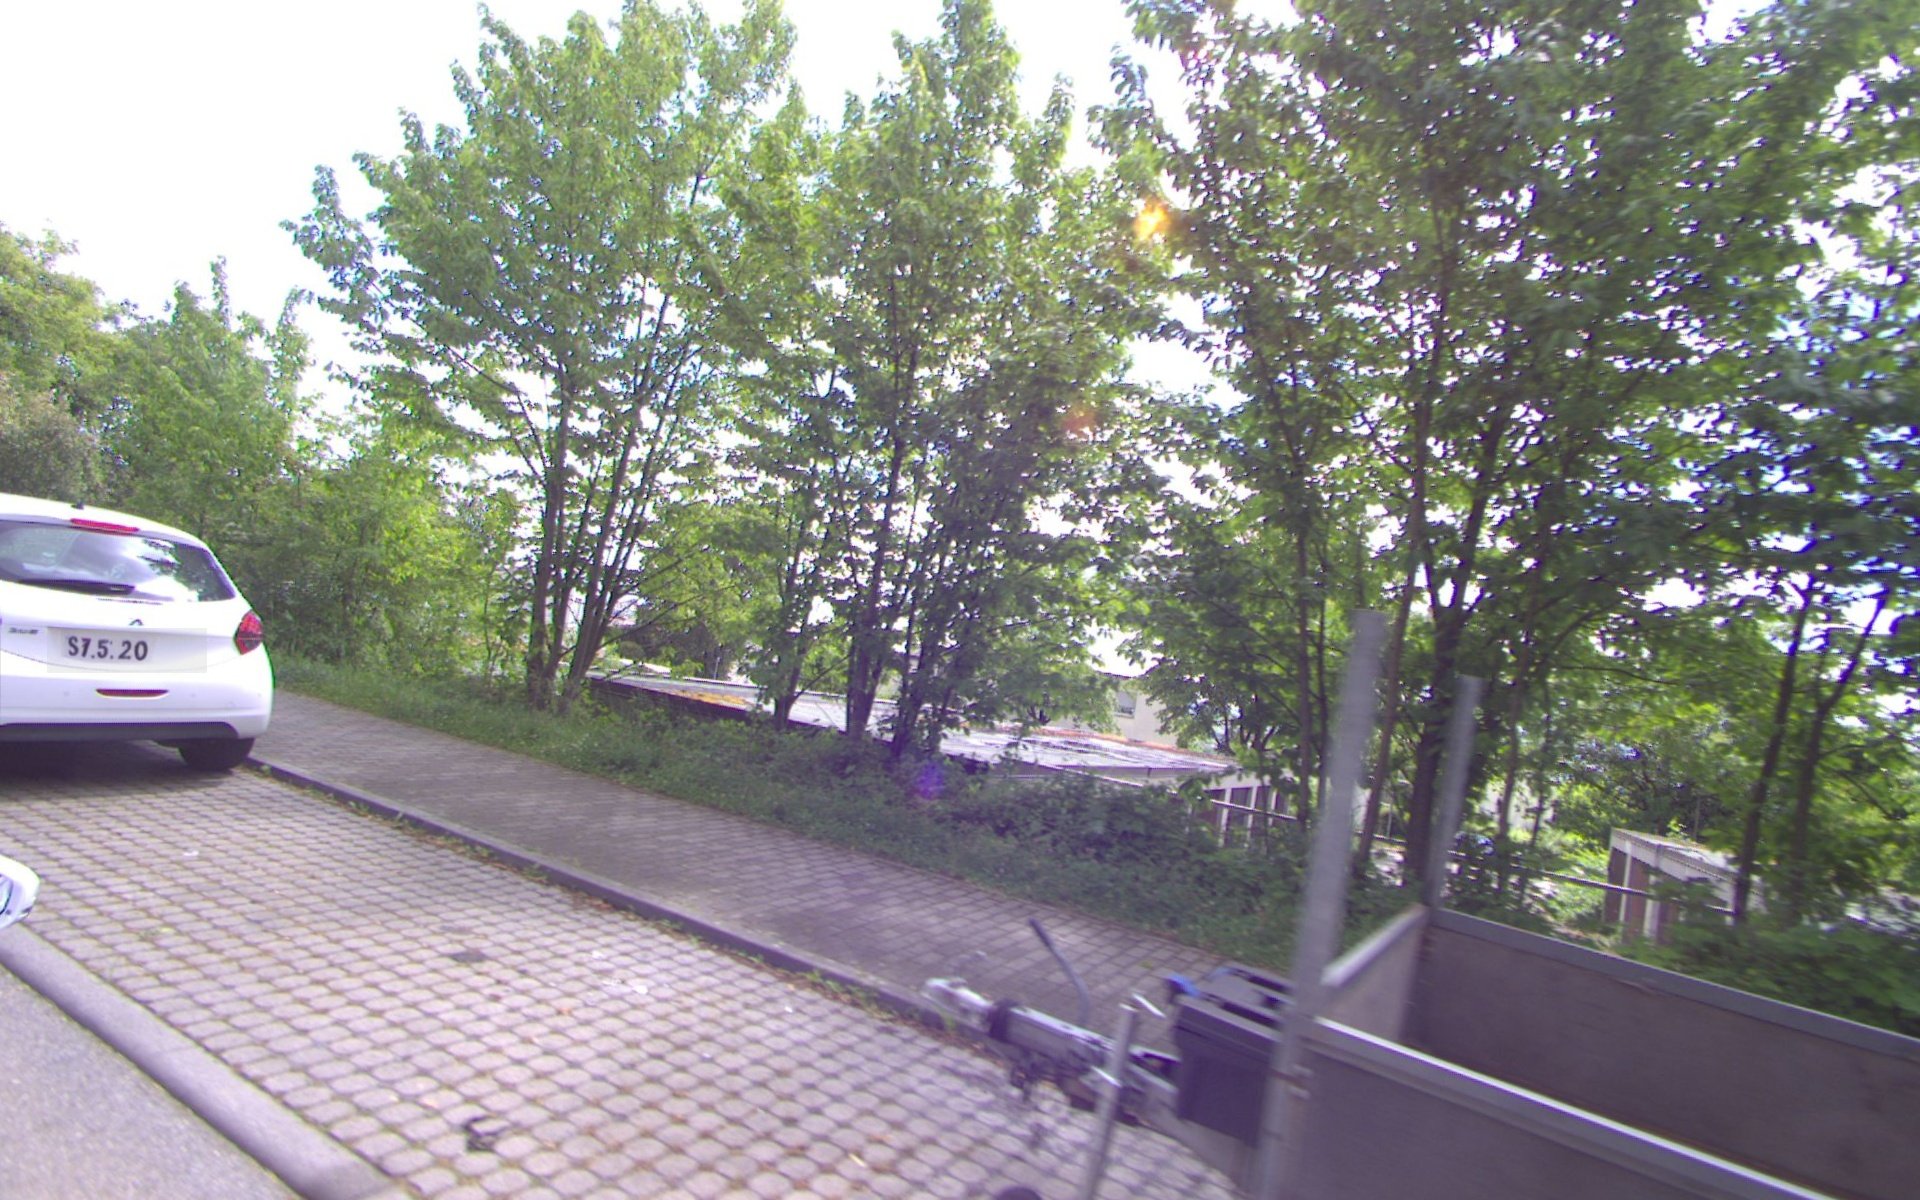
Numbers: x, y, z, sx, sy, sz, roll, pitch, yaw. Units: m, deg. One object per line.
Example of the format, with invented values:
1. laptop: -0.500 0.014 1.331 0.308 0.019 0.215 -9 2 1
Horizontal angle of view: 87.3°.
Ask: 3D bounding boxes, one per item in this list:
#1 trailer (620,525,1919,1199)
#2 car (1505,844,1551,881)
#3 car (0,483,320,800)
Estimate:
1. trailer: 1.732 0.968 1.554 4.415 1.597 1.814 7 -2 32
2. car: 27.343 12.615 48.494 1.615 1.289 3.620 6 -9 28
3. car: -5.915 0.049 6.076 3.717 1.494 1.711 7 -2 28
